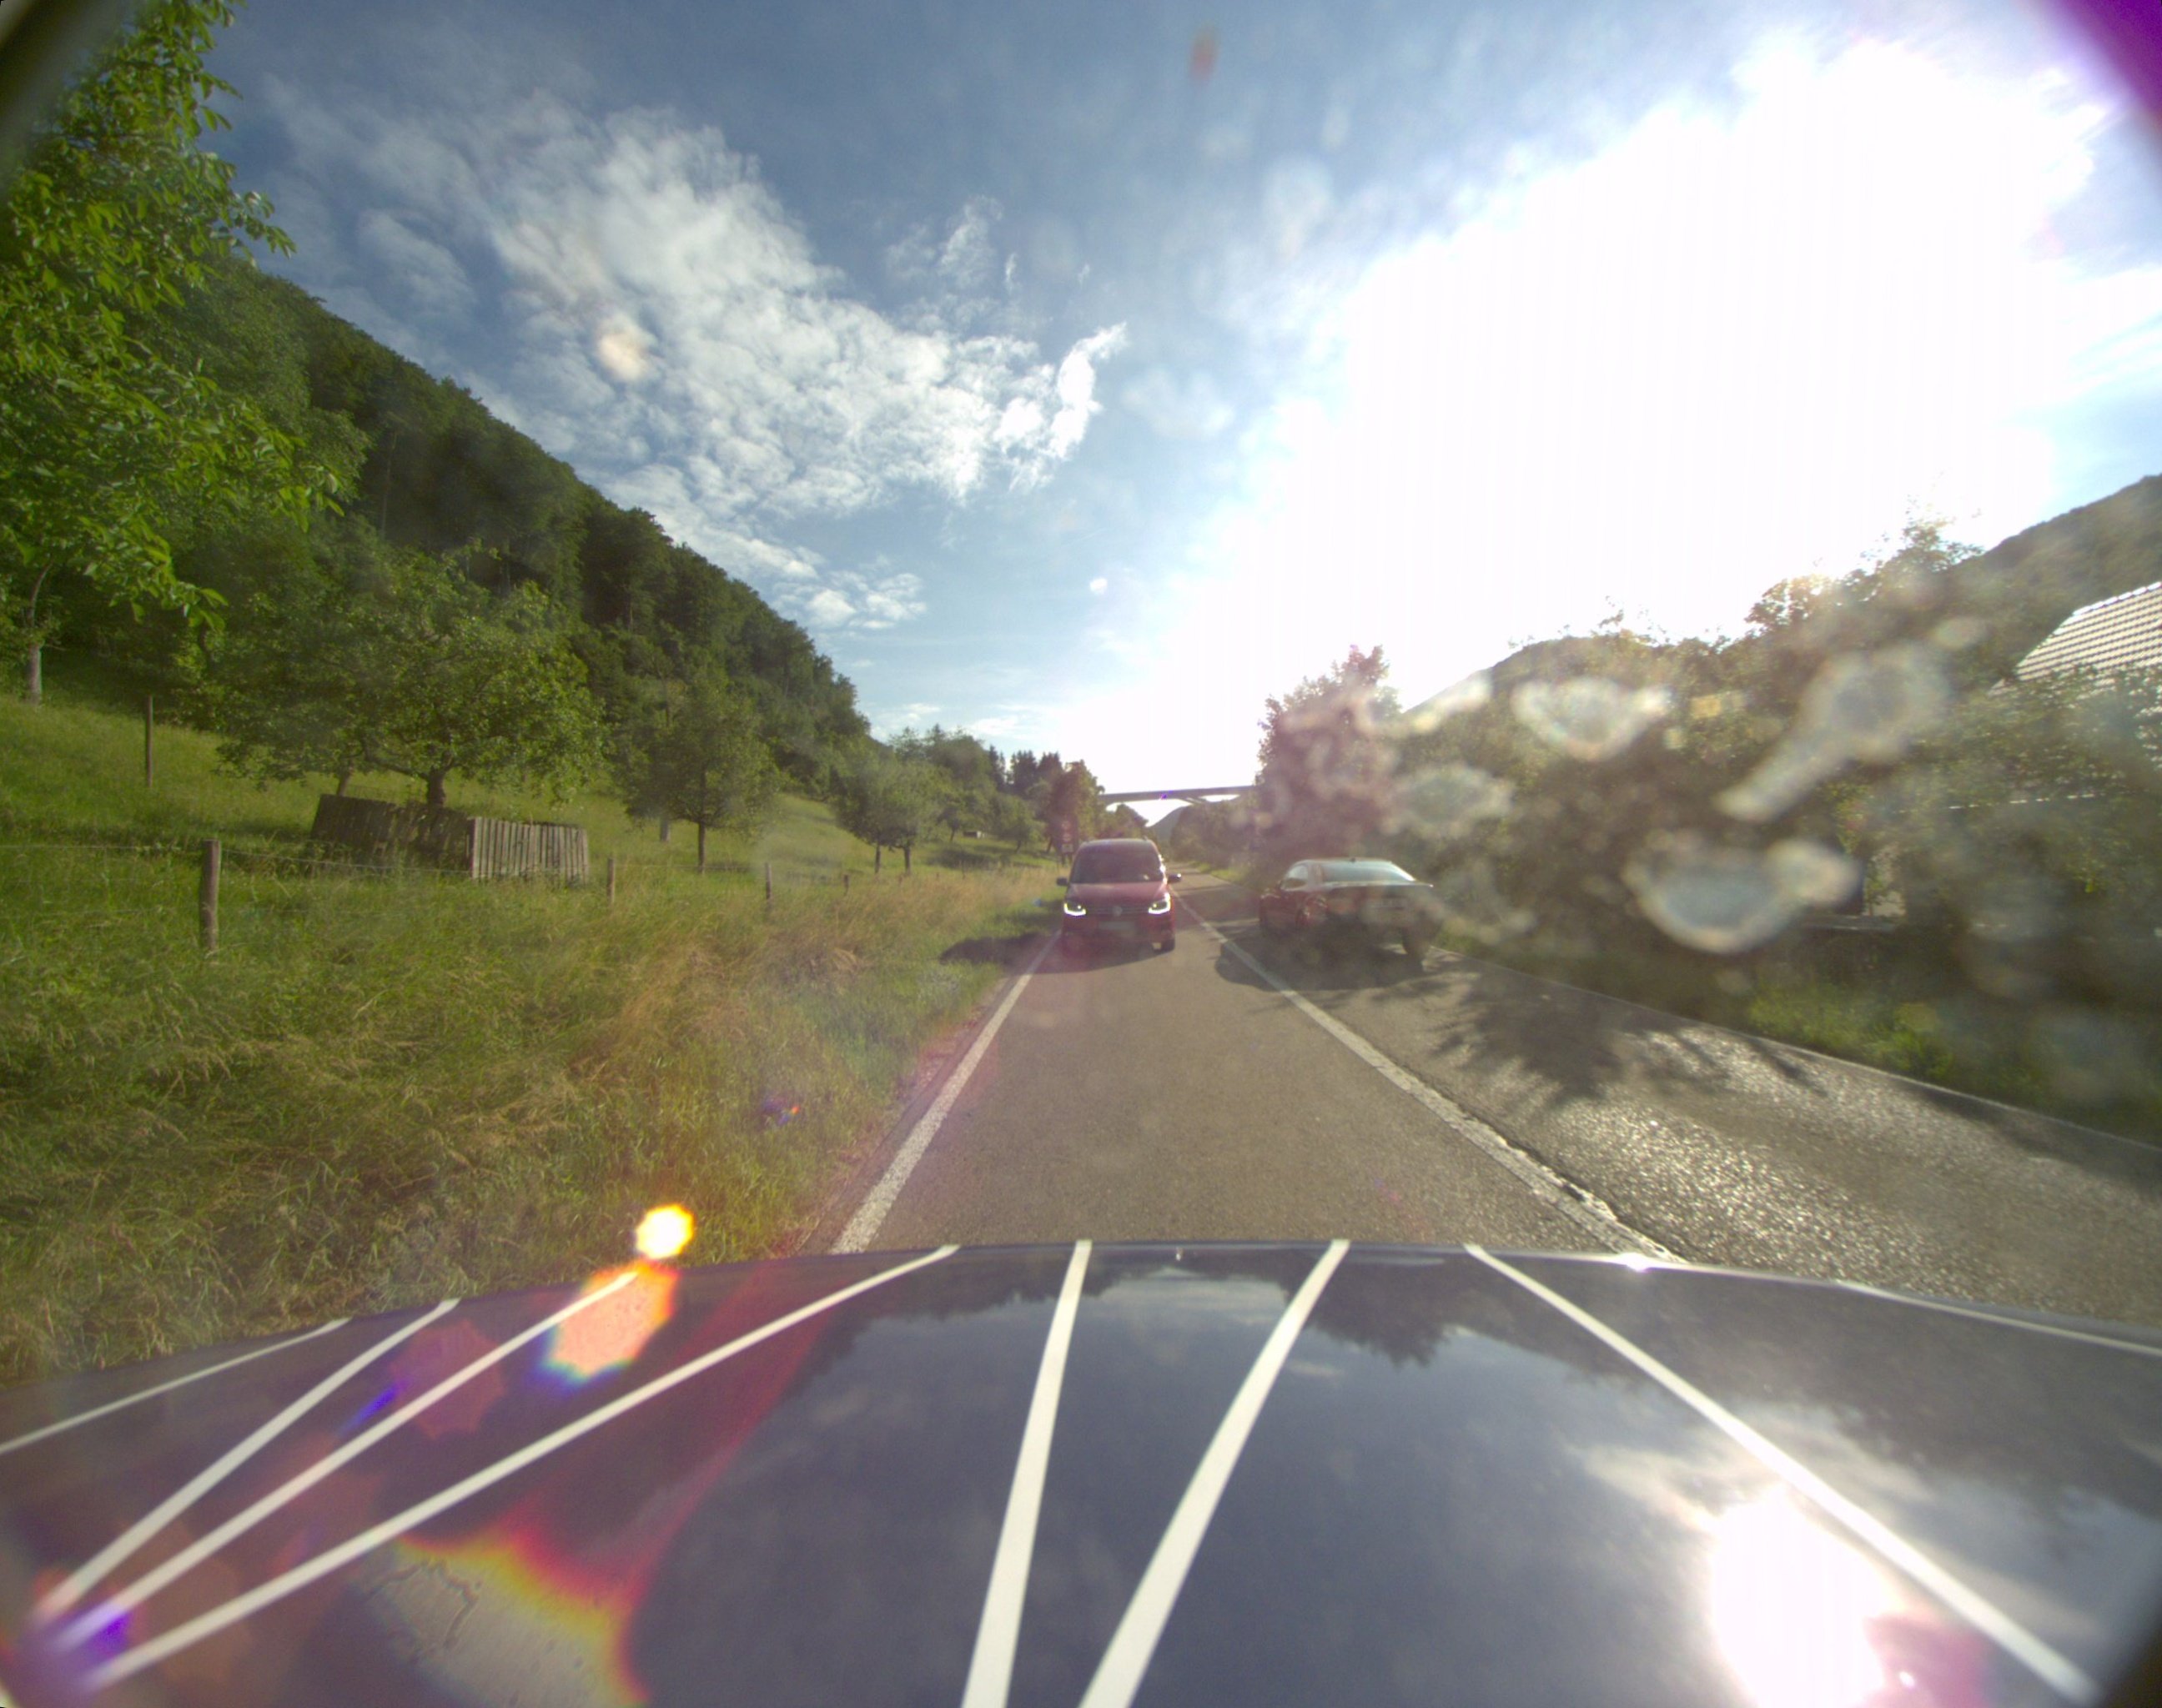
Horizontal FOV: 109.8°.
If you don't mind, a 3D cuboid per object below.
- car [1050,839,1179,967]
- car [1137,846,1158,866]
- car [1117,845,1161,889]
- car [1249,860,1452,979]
[{"bbox_3d":[0.629,0.667,12.939,1.758,1.745,4.430,-2,1,4],"label":"car"},{"bbox_3d":[7.014,0.152,80.694,1.998,2.002,4.000,-2,1,3],"label":"car"},{"bbox_3d":[2.489,0.507,33.297,1.759,1.745,4.000,-2,1,3],"label":"car"},{"bbox_3d":[3.807,0.830,11.530,1.598,1.346,4.202,-2,1,1],"label":"car"}]
